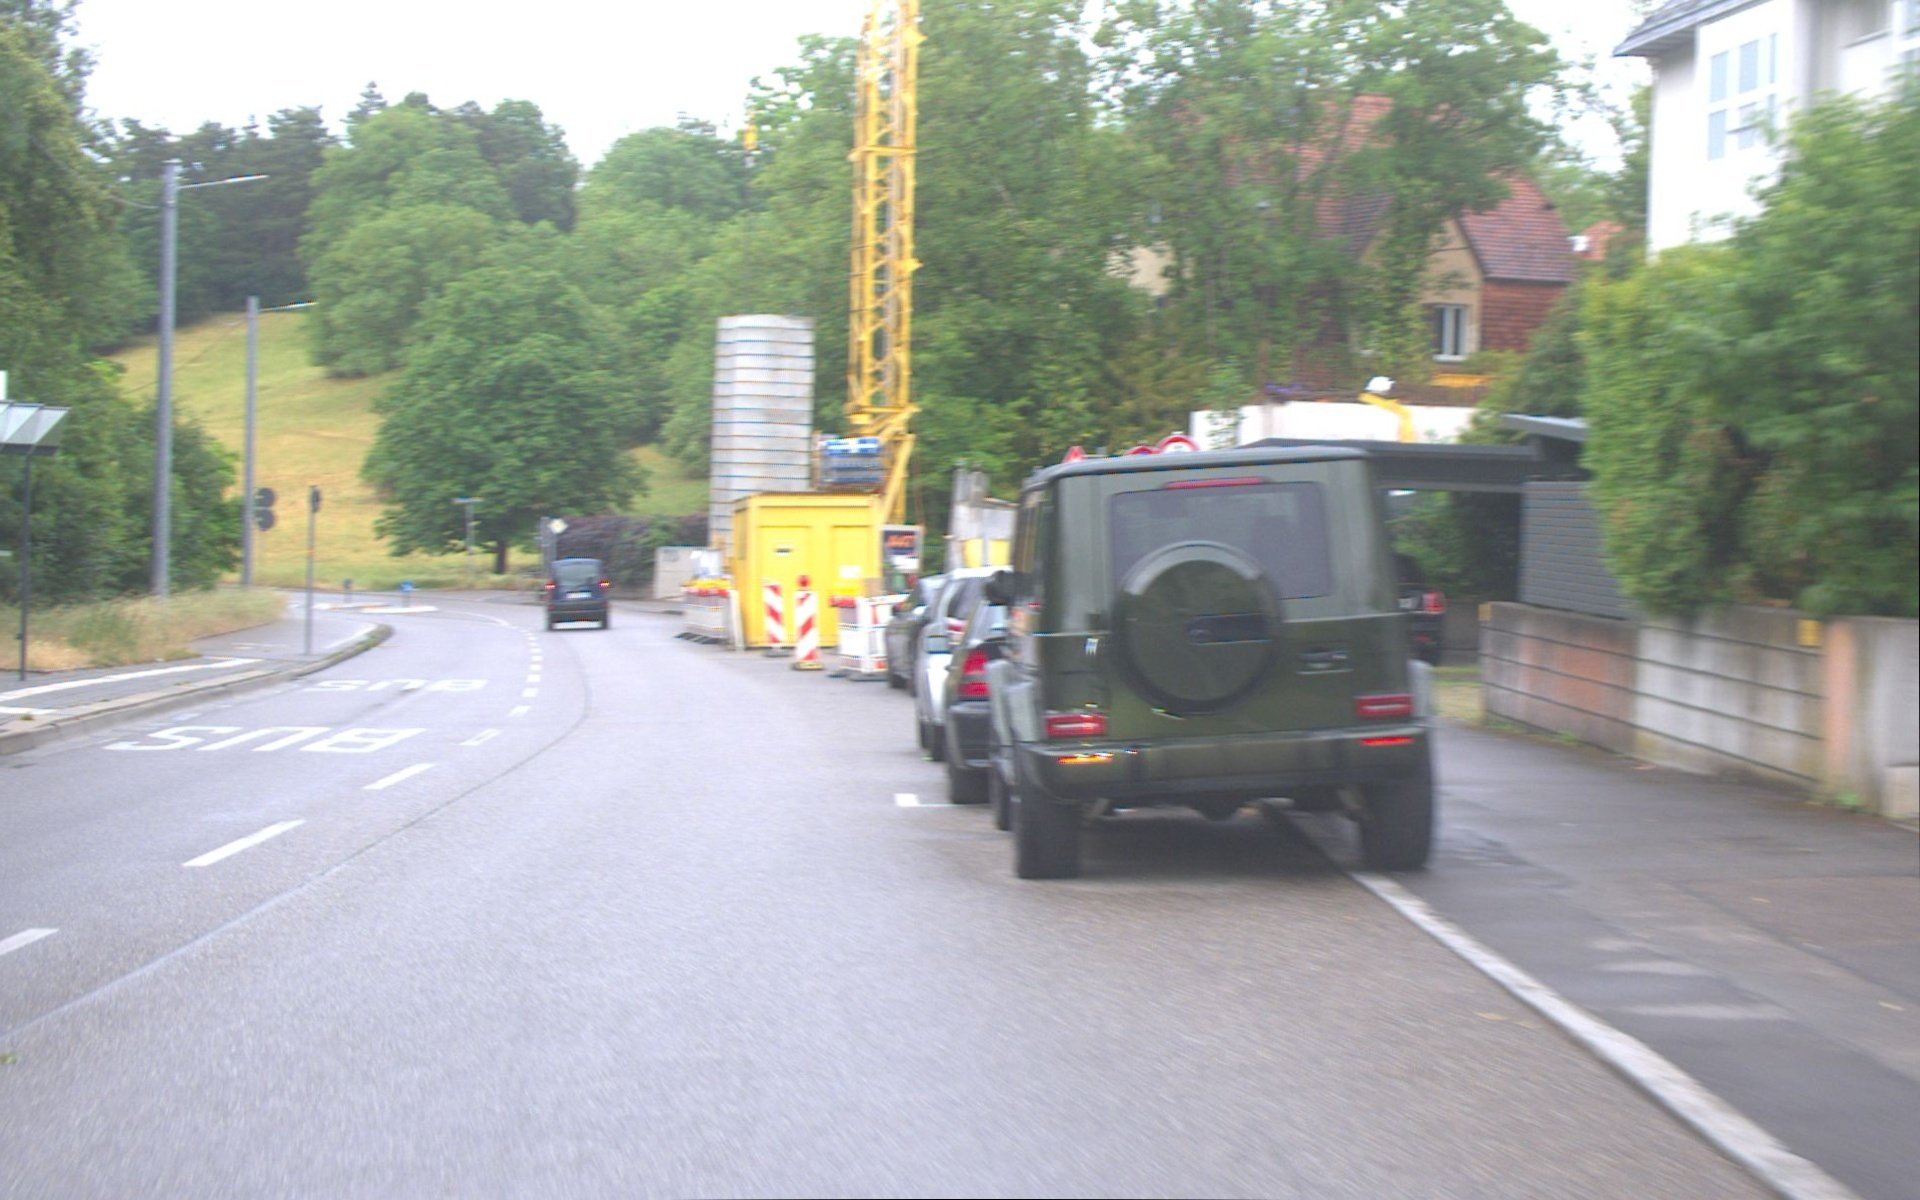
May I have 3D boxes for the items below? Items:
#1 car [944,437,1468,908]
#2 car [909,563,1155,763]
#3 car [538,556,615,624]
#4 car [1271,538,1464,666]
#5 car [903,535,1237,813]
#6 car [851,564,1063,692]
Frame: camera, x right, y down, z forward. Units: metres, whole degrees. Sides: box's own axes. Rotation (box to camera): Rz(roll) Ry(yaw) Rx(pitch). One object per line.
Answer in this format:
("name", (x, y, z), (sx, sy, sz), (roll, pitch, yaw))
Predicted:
("car", (1.066, 0.289, 17.488), (1.993, 2.007, 4.957), (-1, 1, -3))
("car", (0.500, 0.443, 26.738), (1.673, 1.452, 3.386), (0, 1, -3))
("car", (-10.076, -0.263, 90.376), (1.931, 1.745, 4.001), (0, 0, -6))
("car", (5.171, 0.004, 44.061), (1.695, 1.467, 4.001), (3, 0, -3))
("car", (0.648, 0.423, 22.551), (1.932, 1.590, 4.395), (-2, 0, 0))
("car", (-0.102, 0.293, 41.092), (1.931, 1.417, 4.838), (0, 1, -7))
